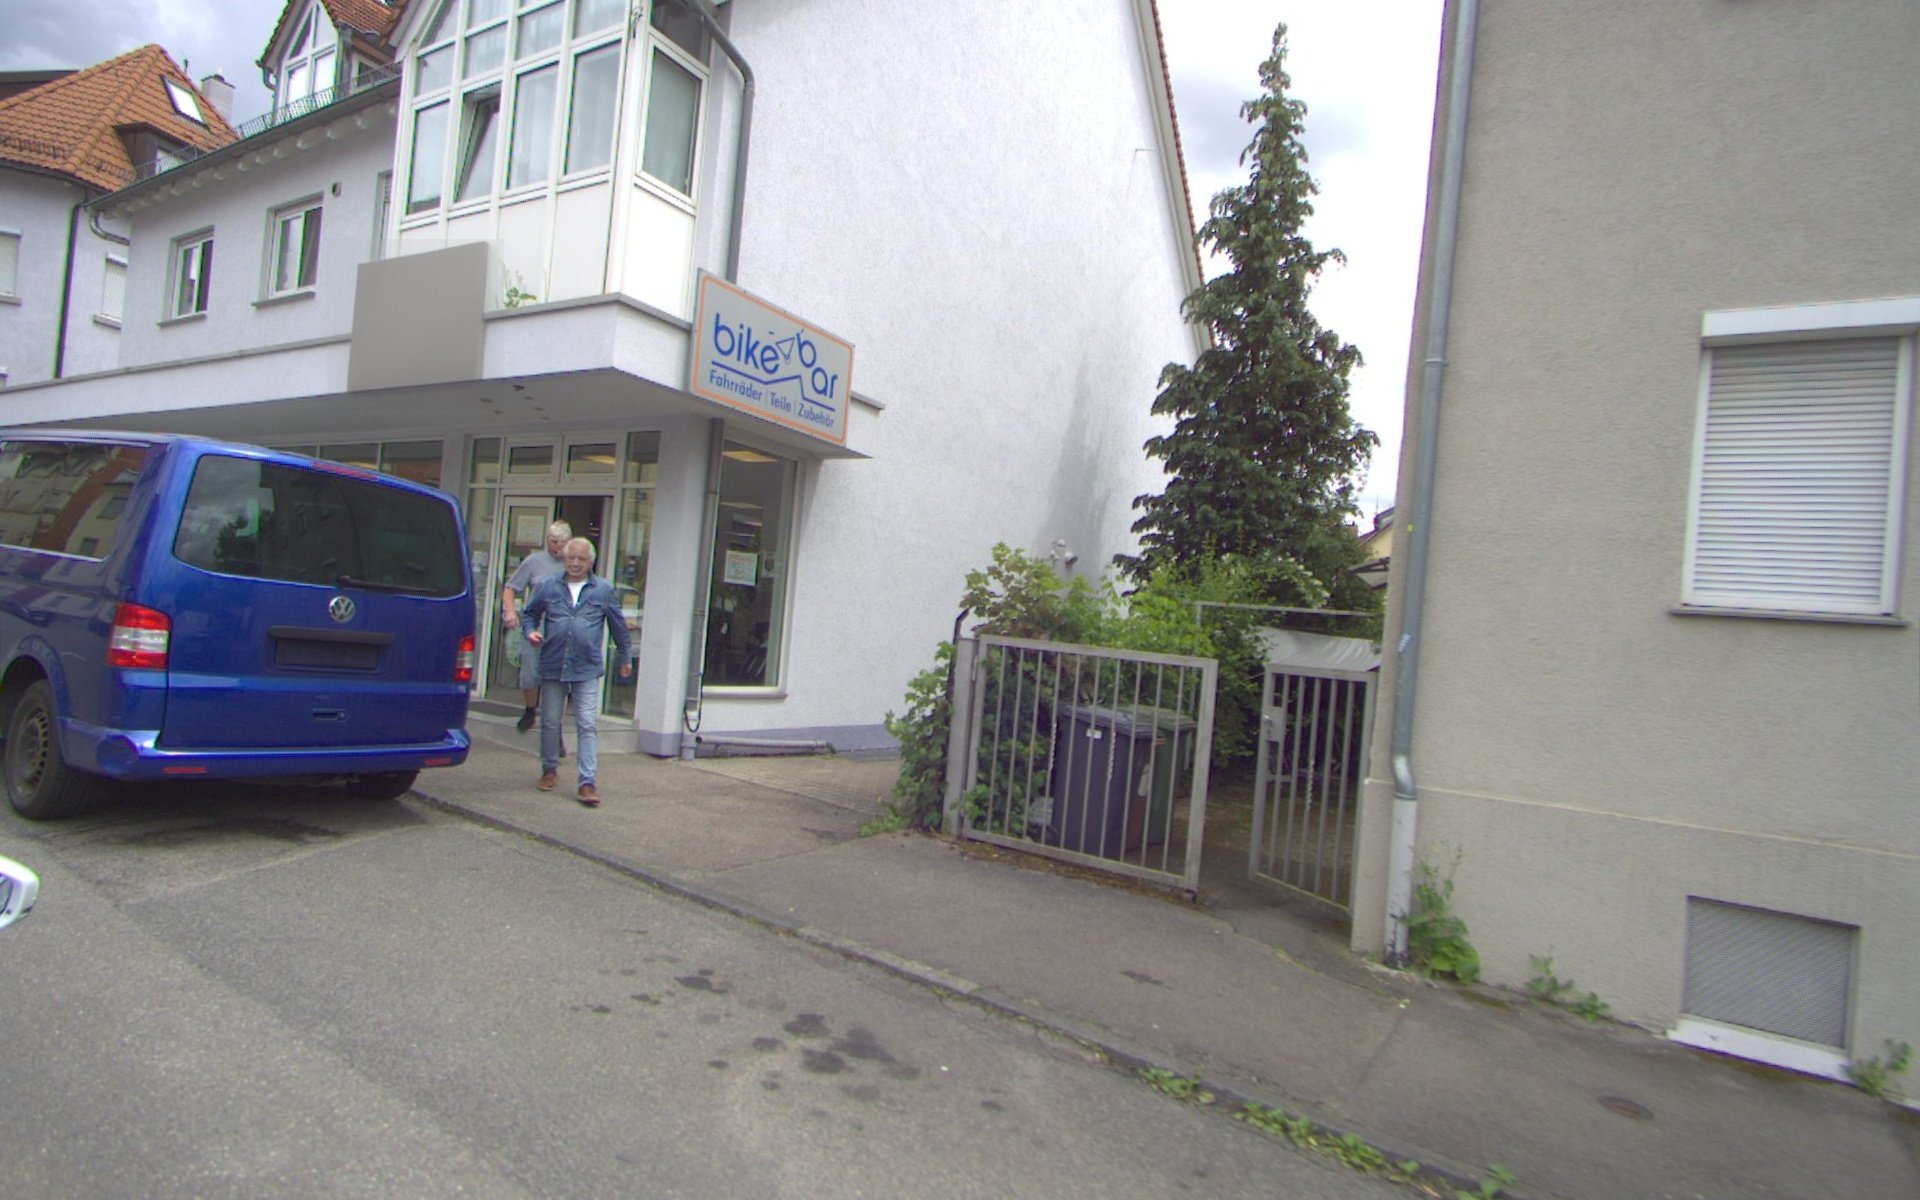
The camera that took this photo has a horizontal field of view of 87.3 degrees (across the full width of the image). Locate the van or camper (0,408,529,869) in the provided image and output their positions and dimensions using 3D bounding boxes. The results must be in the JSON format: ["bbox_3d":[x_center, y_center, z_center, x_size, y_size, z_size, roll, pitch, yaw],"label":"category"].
[{"bbox_3d":[-5.163,0.005,6.321,4.750,1.948,1.930,8,-1,31],"label":"van or camper"}]

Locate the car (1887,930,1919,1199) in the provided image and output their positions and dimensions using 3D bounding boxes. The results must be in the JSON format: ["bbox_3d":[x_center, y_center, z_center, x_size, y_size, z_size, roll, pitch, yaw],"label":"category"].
[{"bbox_3d":[4.072,1.356,0.591,4.810,1.534,1.998,7,-2,32],"label":"car"}]

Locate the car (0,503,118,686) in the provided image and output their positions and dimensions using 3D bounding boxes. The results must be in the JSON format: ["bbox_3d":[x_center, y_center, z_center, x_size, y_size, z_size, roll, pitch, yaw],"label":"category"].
[{"bbox_3d":[-9.875,-0.312,9.302,4.562,1.452,1.718,7,-2,32],"label":"car"}]

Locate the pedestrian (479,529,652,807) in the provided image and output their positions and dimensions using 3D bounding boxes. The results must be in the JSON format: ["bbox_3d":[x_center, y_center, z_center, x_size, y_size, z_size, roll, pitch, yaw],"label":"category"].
[{"bbox_3d":[-2.701,0.463,6.910,0.862,1.745,0.616,8,0,-23],"label":"pedestrian"}]

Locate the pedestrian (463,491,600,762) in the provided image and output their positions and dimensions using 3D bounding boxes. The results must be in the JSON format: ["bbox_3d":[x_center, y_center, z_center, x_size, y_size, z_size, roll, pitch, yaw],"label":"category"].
[{"bbox_3d":[-3.449,0.217,8.130,0.752,2.038,0.616,8,0,-23],"label":"pedestrian"}]
